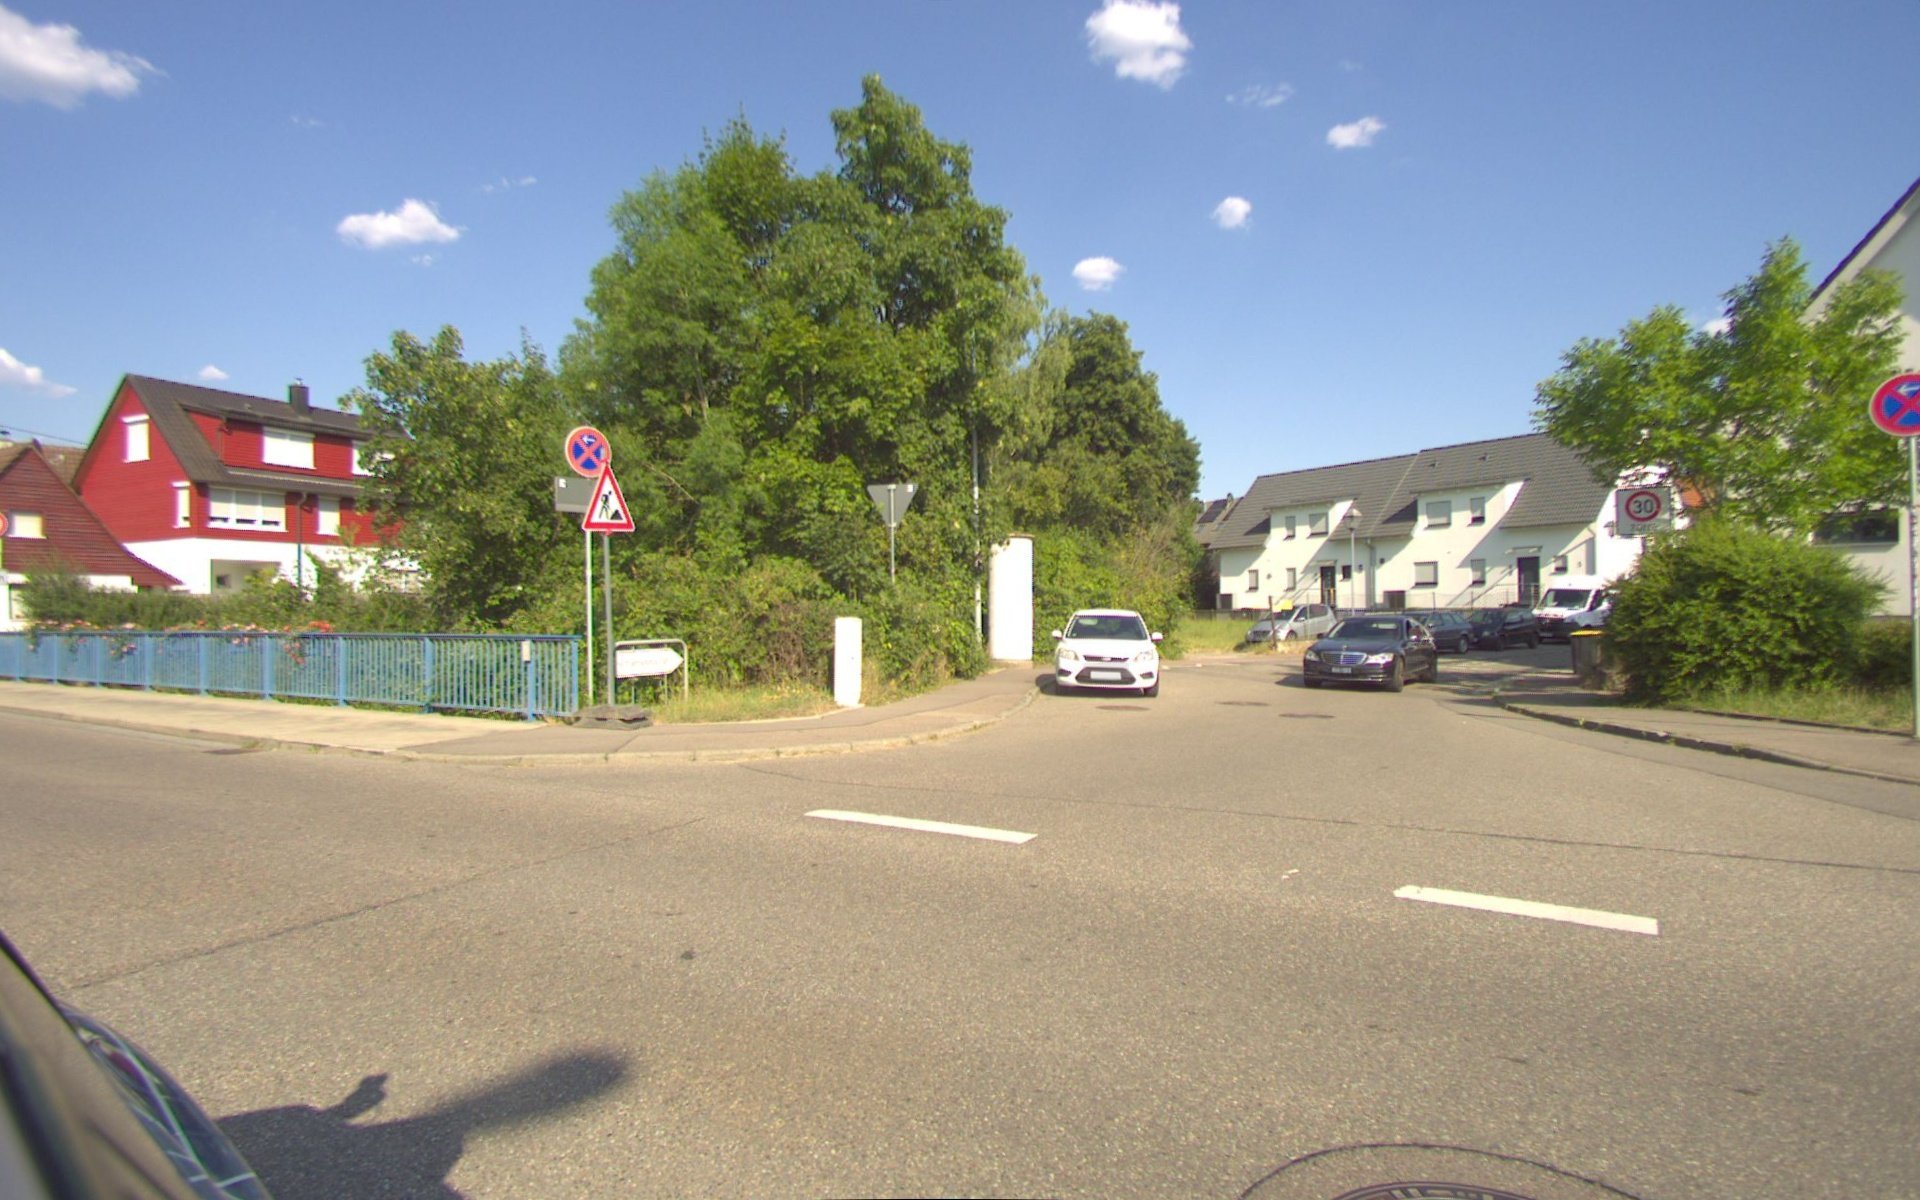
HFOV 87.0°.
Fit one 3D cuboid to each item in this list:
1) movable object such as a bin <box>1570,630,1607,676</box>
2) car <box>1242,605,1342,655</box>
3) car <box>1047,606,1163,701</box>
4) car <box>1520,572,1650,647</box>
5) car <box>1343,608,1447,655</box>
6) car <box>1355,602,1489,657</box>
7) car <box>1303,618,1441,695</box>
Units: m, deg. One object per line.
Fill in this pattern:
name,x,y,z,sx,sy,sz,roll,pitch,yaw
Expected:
movable object such as a bin,15.546,1.302,25.020,0.701,1.098,0.678,-1,-1,37
car,11.915,1.050,36.198,3.983,1.672,1.772,1,-1,-44
car,2.636,0.881,18.376,1.841,1.503,4.263,0,-1,9
car,24.055,0.392,38.861,5.519,2.698,2.121,1,-1,-33
car,14.347,0.993,33.265,3.983,1.442,1.772,1,-1,-44
car,15.151,0.908,33.112,4.514,1.701,2.122,0,0,-37
car,8.880,1.105,21.589,1.767,1.442,4.788,0,-1,34
